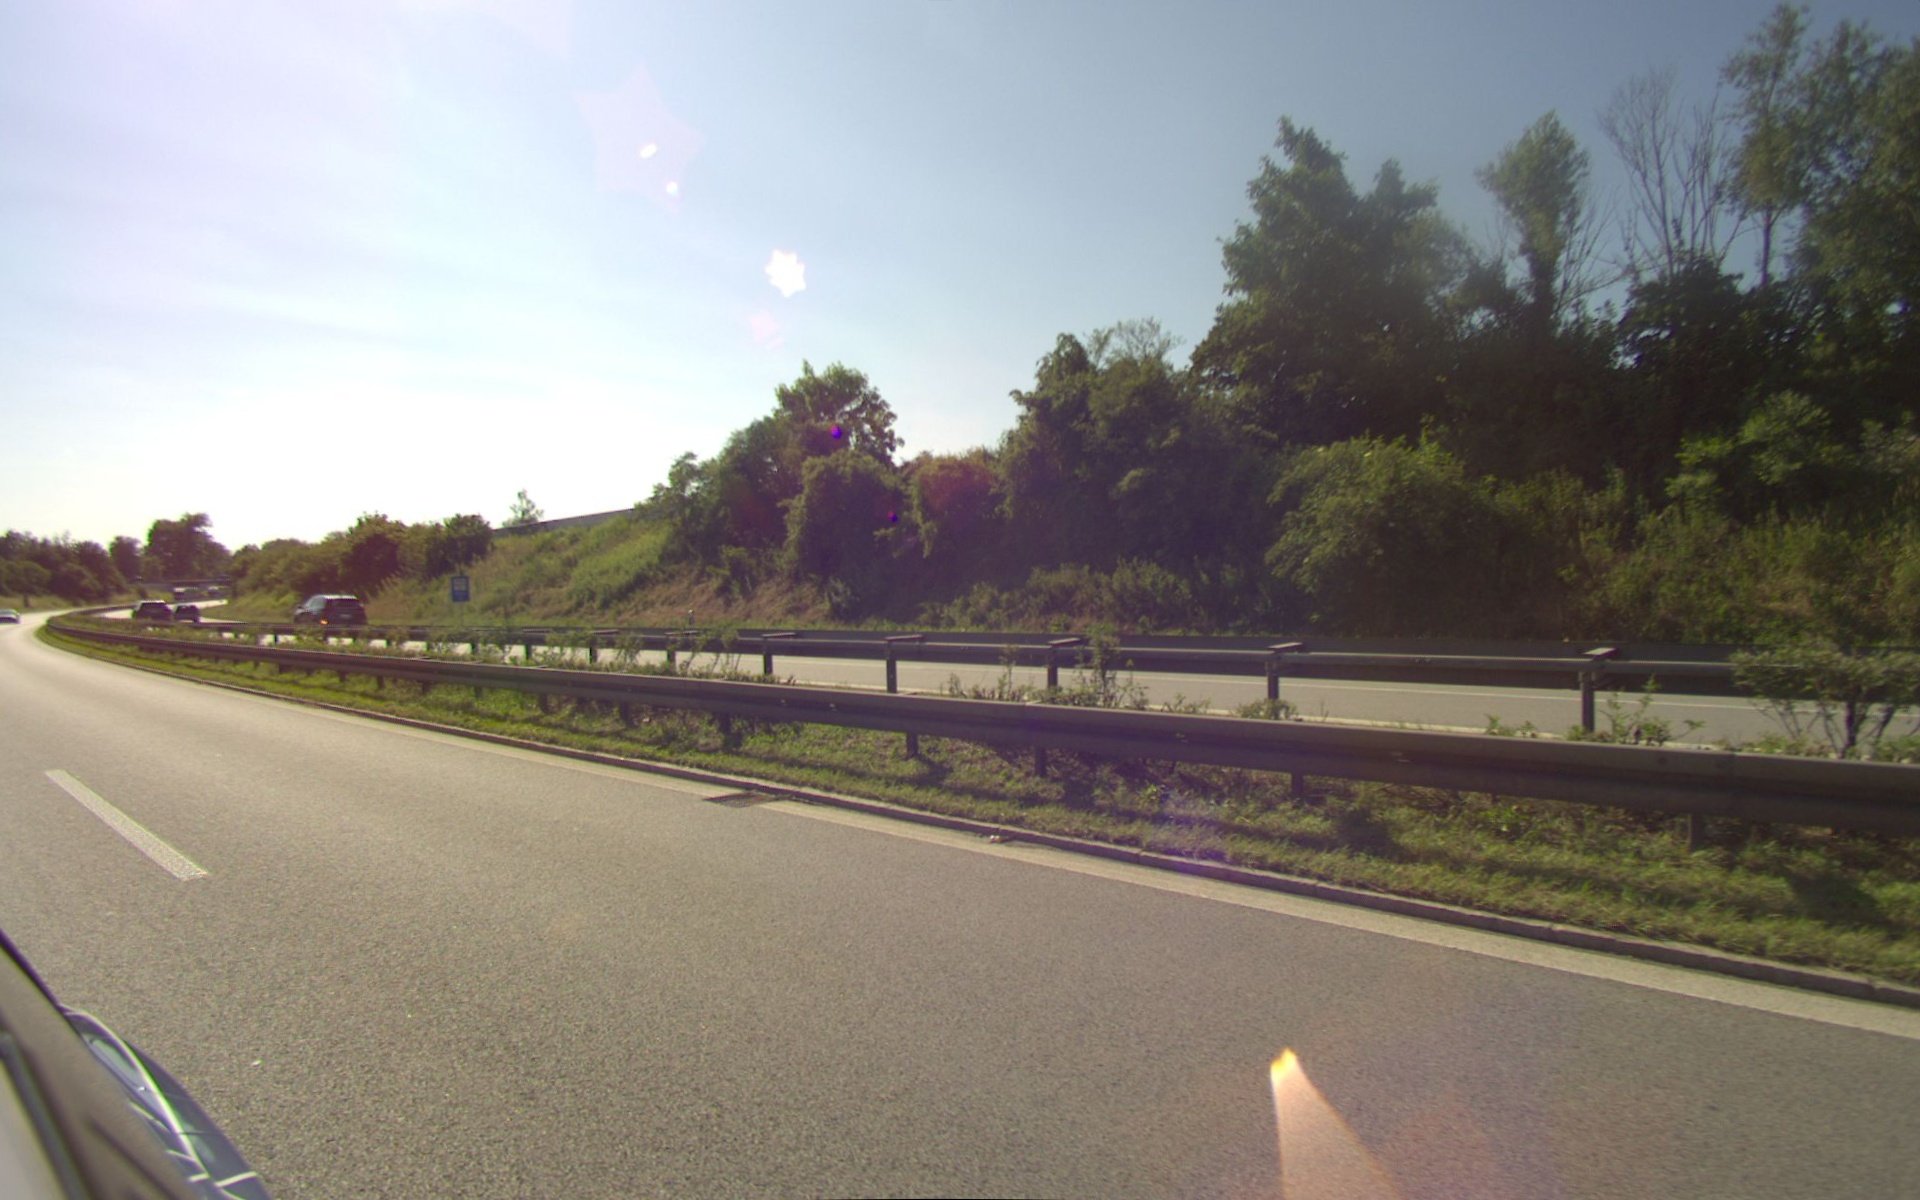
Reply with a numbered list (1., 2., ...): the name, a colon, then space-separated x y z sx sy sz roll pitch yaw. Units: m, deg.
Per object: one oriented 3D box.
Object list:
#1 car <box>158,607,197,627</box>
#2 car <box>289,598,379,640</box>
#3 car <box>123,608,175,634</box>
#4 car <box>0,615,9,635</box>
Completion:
1. car: -63.063 1.368 81.534 4.687 1.491 1.799 -1 1 44
2. car: -25.917 0.771 41.858 4.432 1.664 1.973 -1 -1 41
3. car: -53.887 1.405 67.178 4.887 1.692 2.045 -1 -2 44
4. car: -98.954 2.595 103.766 1.970 2.028 4.605 -4 2 -42
